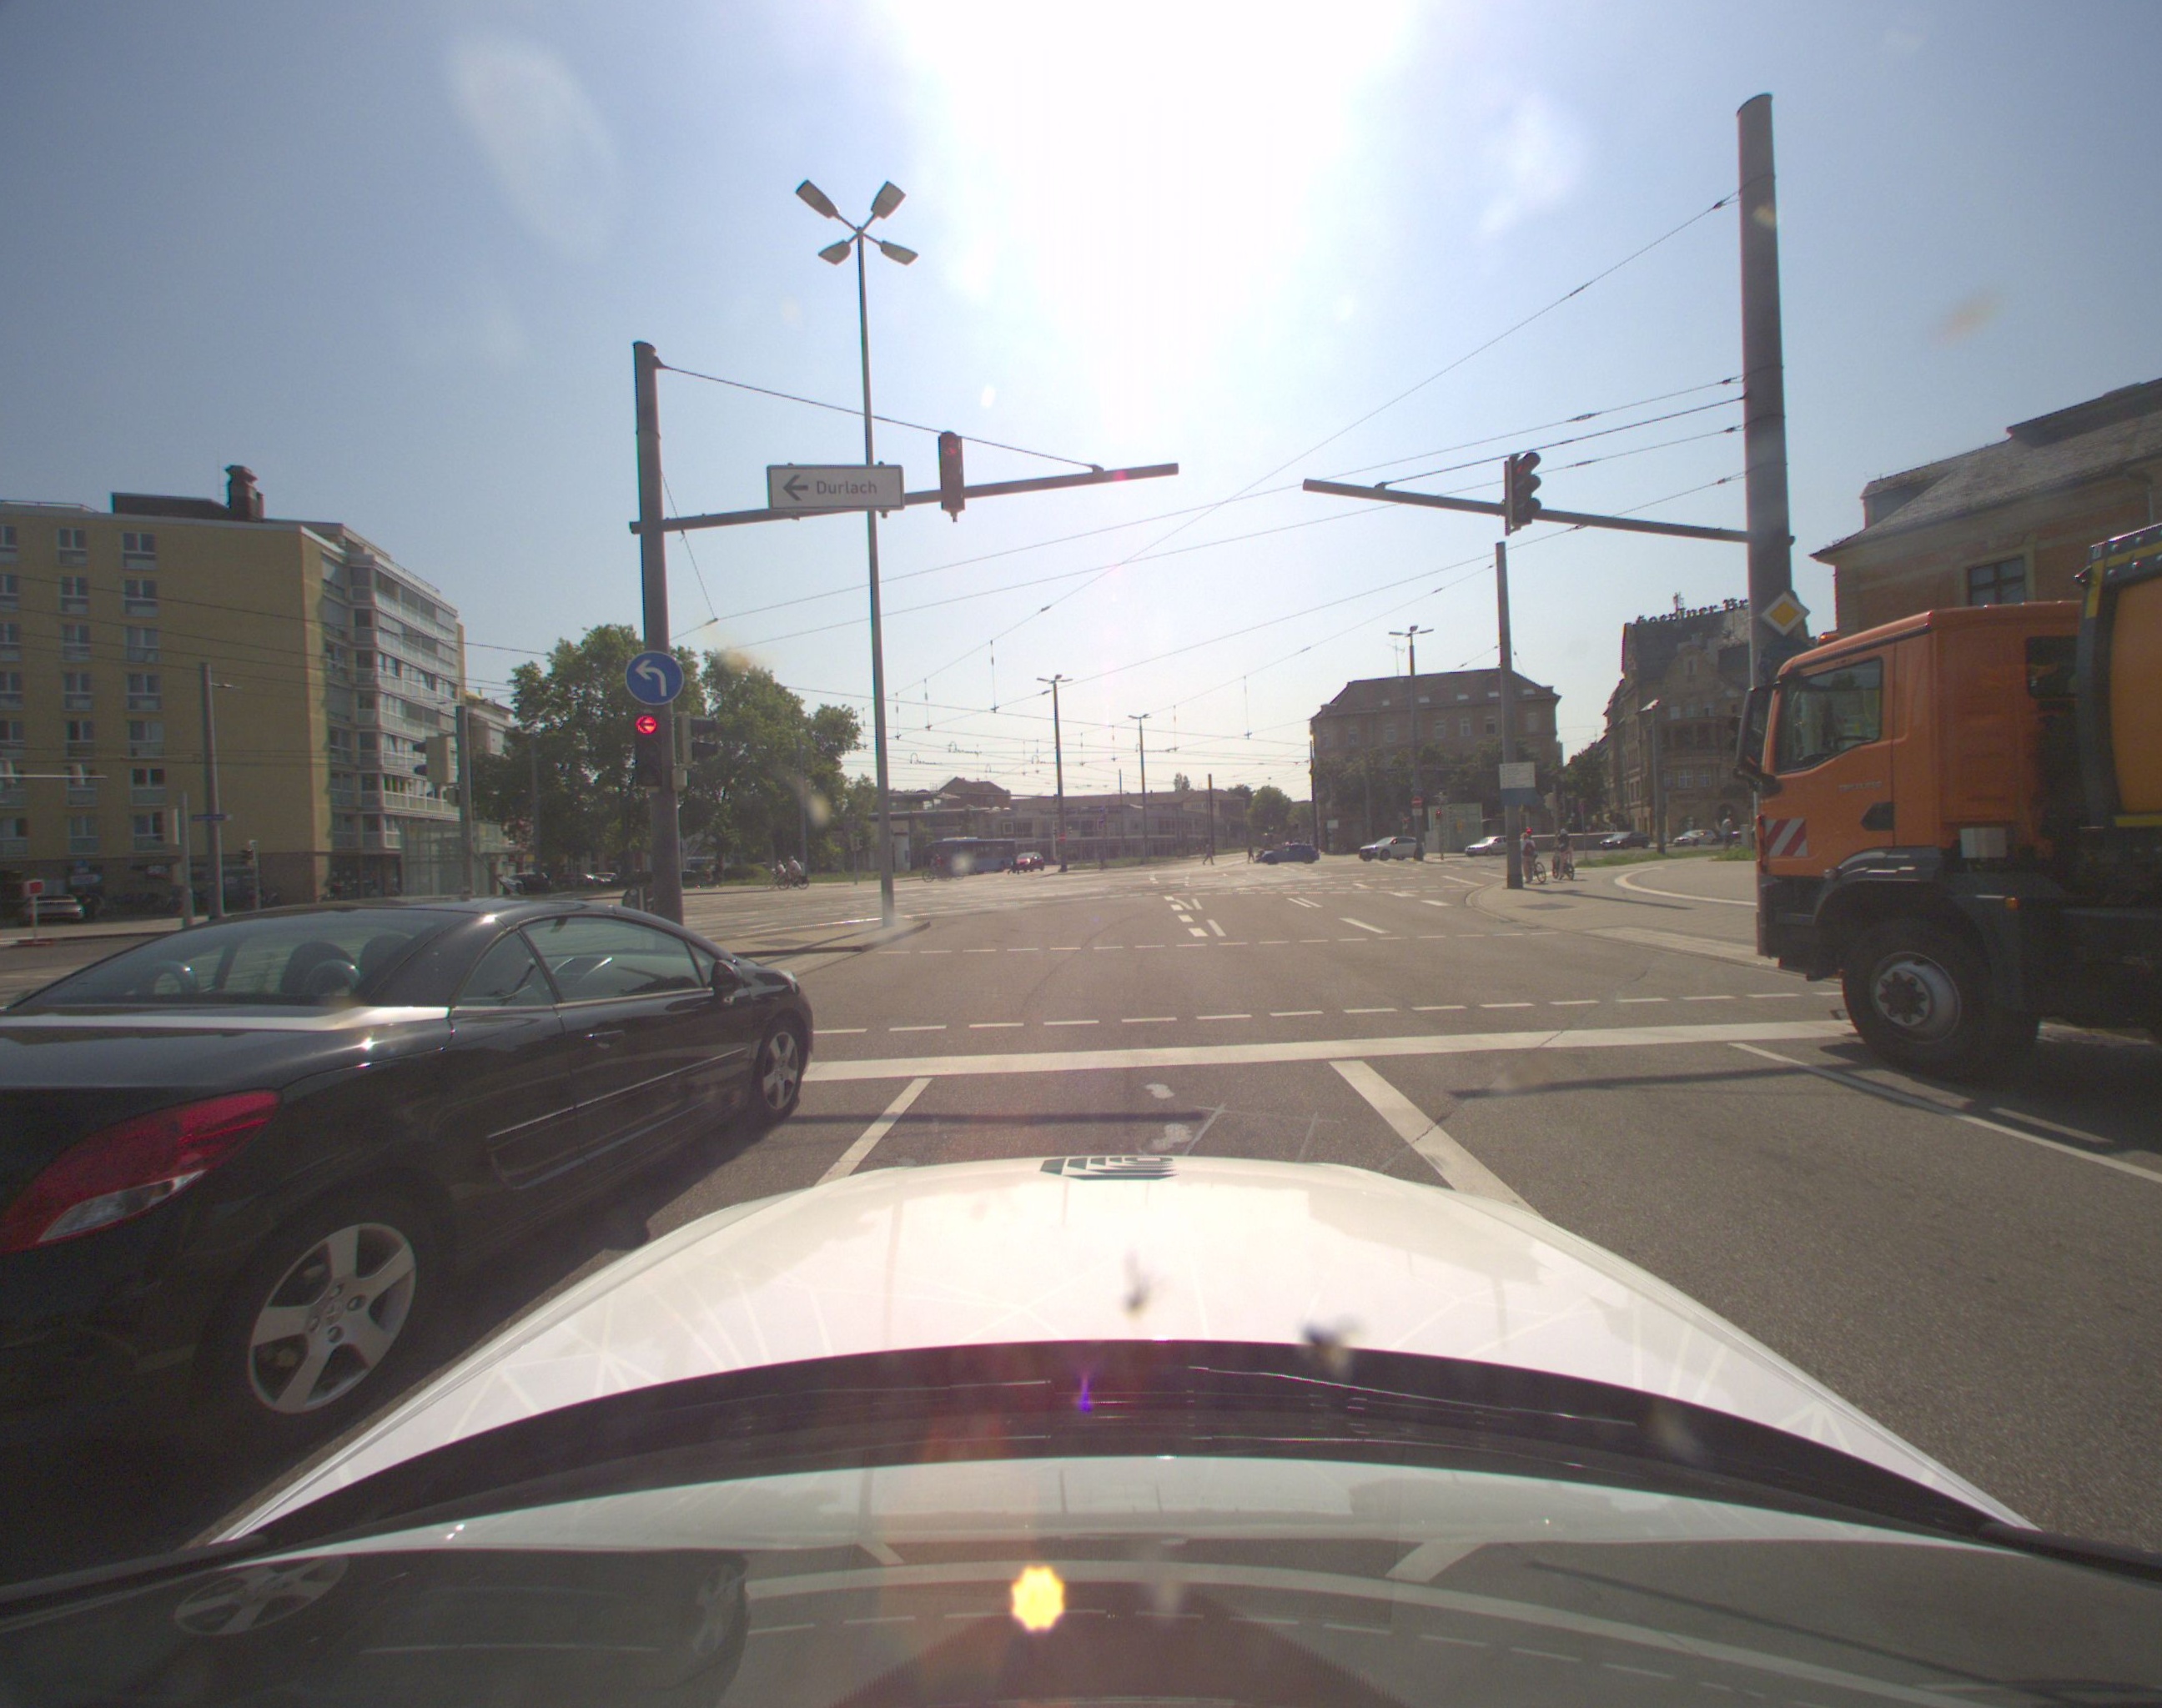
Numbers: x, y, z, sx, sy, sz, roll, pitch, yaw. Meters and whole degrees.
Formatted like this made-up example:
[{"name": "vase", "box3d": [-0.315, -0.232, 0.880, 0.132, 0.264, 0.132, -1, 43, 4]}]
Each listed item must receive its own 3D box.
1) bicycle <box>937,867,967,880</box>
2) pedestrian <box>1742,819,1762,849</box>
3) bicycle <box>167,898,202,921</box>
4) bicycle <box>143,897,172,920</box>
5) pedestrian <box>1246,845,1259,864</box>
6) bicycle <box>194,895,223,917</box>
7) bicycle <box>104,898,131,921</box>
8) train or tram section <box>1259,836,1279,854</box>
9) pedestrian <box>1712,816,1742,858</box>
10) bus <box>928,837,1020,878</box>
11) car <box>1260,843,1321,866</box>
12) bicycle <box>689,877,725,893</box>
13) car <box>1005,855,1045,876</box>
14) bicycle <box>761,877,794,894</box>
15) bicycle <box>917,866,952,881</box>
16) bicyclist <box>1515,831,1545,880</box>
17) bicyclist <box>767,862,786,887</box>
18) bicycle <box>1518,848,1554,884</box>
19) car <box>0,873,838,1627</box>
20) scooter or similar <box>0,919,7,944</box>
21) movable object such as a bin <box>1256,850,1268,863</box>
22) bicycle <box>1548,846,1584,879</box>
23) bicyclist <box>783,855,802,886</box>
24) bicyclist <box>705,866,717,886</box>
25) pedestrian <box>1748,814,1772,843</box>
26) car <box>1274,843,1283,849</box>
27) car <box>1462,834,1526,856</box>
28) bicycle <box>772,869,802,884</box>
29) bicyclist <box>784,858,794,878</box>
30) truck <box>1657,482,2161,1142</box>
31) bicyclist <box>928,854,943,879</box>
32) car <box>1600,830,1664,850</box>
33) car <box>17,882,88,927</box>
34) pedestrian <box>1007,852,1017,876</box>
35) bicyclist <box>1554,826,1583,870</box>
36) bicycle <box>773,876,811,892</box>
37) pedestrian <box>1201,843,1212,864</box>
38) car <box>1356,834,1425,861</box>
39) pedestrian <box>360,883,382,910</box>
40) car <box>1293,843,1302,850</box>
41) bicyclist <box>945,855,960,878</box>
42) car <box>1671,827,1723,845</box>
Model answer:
[{"name": "bicycle", "box3d": [-8.540, 1.279, 53.767, 1.861, 0.802, 0.604, -2, 0, -17]}, {"name": "pedestrian", "box3d": [35.971, -1.058, 43.651, 0.794, 1.575, 0.729, -2, 0, -44]}, {"name": "bicycle", "box3d": [-50.629, 3.130, 45.972, 3.220, 1.204, 0.916, -2, 0, 35]}, {"name": "bicycle", "box3d": [-51.862, 3.039, 45.718, 3.220, 1.204, 0.699, -2, 0, 35]}, {"name": "pedestrian", "box3d": [13.763, 0.033, 65.485, 0.849, 1.545, 0.527, -2, 0, -7]}, {"name": "bicycle", "box3d": [-49.944, 2.974, 46.602, 3.220, 1.204, 0.699, -2, 0, 35]}, {"name": "bicycle", "box3d": [-53.476, 3.074, 45.196, 2.754, 1.204, 0.699, -2, 0, 35]}, {"name": "train or tram section", "box3d": [38.520, -1.929, 166.576, 2.566, 3.516, 10.954, -2, 0, 20]}, {"name": "pedestrian", "box3d": [26.759, -0.692, 33.738, 0.549, 1.724, 0.812, -2, 0, -40]}, {"name": "bus", "box3d": [-8.777, 0.194, 68.930, 2.541, 3.082, 12.080, -2, 0, 18]}, {"name": "car", "box3d": [14.812, 0.036, 57.617, 3.953, 1.394, 1.604, -2, 0, 20]}, {"name": "bicycle", "box3d": [-24.488, 2.012, 53.319, 2.033, 0.942, 0.466, -2, 0, -12]}, {"name": "car", "box3d": [-4.471, 0.898, 65.730, 1.735, 1.552, 4.020, -2, 0, 20]}, {"name": "bicycle", "box3d": [-18.908, 1.973, 50.772, 1.808, 0.942, 0.568, -2, 0, 0]}, {"name": "bicycle", "box3d": [-8.971, 1.183, 49.951, 2.049, 0.802, 0.477, -2, 0, -12]}, {"name": "bicyclist", "box3d": [14.330, 0.042, 25.983, 0.623, 1.517, 0.714, -2, 0, 13]}, {"name": "bicyclist", "box3d": [-18.966, 1.268, 50.769, 0.906, 1.508, 0.559, -2, 0, 1]}, {"name": "bicycle", "box3d": [14.339, 0.362, 25.713, 0.532, 1.055, 1.660, -2, 0, 14]}, {"name": "car", "box3d": [-2.666, 0.835, 3.564, 1.757, 1.388, 3.787, -1, 0, 5]}, {"name": "scooter or similar", "box3d": [-35.865, 2.568, 26.425, 0.519, 0.824, 1.142, -2, 0, -4]}, {"name": "movable object such as a bin", "box3d": [14.588, 0.201, 65.574, 0.812, 1.077, 0.510, -2, 0, -9]}, {"name": "bicycle", "box3d": [16.012, 0.270, 26.922, 0.532, 1.055, 1.660, -2, 0, 14]}, {"name": "bicyclist", "box3d": [-17.336, 0.997, 48.950, 0.924, 1.807, 0.495, -2, 0, -11]}, {"name": "bicyclist", "box3d": [-24.202, 1.421, 53.327, 0.544, 1.293, 0.557, -2, 0, -10]}, {"name": "pedestrian", "box3d": [28.853, -1.084, 34.602, 0.658, 1.214, 0.531, -2, 0, 29]}, {"name": "car", "box3d": [53.089, -2.086, 218.694, 1.782, 1.508, 4.021, -2, 0, 21]}, {"name": "car", "box3d": [30.051, -0.683, 59.259, 4.191, 1.415, 1.763, -2, 0, -21]}, {"name": "bicycle", "box3d": [-19.951, 1.508, 55.276, 1.815, 0.942, 0.414, -2, 0, -12]}, {"name": "bicyclist", "box3d": [-19.816, 0.937, 55.244, 0.544, 1.293, 0.557, -2, 0, -10]}, {"name": "truck", "box3d": [6.390, -0.217, 4.051, 2.481, 3.134, 6.867, -1, 0, 3]}, {"name": "bicyclist", "box3d": [-8.933, 0.763, 49.932, 0.871, 1.483, 0.495, -2, 0, -12]}, {"name": "car", "box3d": [44.804, -1.135, 66.206, 4.767, 1.415, 1.765, -2, 0, -18]}, {"name": "car", "box3d": [-48.611, 2.341, 38.558, 3.949, 1.925, 1.815, -2, 0, 41]}, {"name": "pedestrian", "box3d": [-5.028, 0.721, 59.360, 0.554, 1.684, 0.451, -2, 0, -17]}, {"name": "bicyclist", "box3d": [15.889, -0.201, 26.541, 0.526, 1.393, 0.897, -2, 0, 14]}, {"name": "bicycle", "box3d": [-17.359, 1.796, 48.949, 2.049, 0.802, 0.477, -2, 0, -12]}, {"name": "pedestrian", "box3d": [9.994, -0.058, 64.893, 0.699, 1.603, 0.572, -2, 0, -6]}, {"name": "car", "box3d": [21.282, -0.460, 55.937, 4.338, 1.618, 1.742, -2, 0, -22]}, {"name": "pedestrian", "box3d": [-43.070, 2.577, 49.418, 0.862, 1.543, 0.736, -2, 0, -32]}, {"name": "car", "box3d": [57.815, -1.977, 217.379, 1.805, 1.809, 4.019, -1, -1, 19]}, {"name": "bicyclist", "box3d": [-8.483, 0.814, 53.803, 0.873, 1.475, 0.543, -2, 0, -17]}, {"name": "car", "box3d": [53.671, -1.552, 70.957, 4.208, 1.415, 1.762, -2, 0, -24]}]
